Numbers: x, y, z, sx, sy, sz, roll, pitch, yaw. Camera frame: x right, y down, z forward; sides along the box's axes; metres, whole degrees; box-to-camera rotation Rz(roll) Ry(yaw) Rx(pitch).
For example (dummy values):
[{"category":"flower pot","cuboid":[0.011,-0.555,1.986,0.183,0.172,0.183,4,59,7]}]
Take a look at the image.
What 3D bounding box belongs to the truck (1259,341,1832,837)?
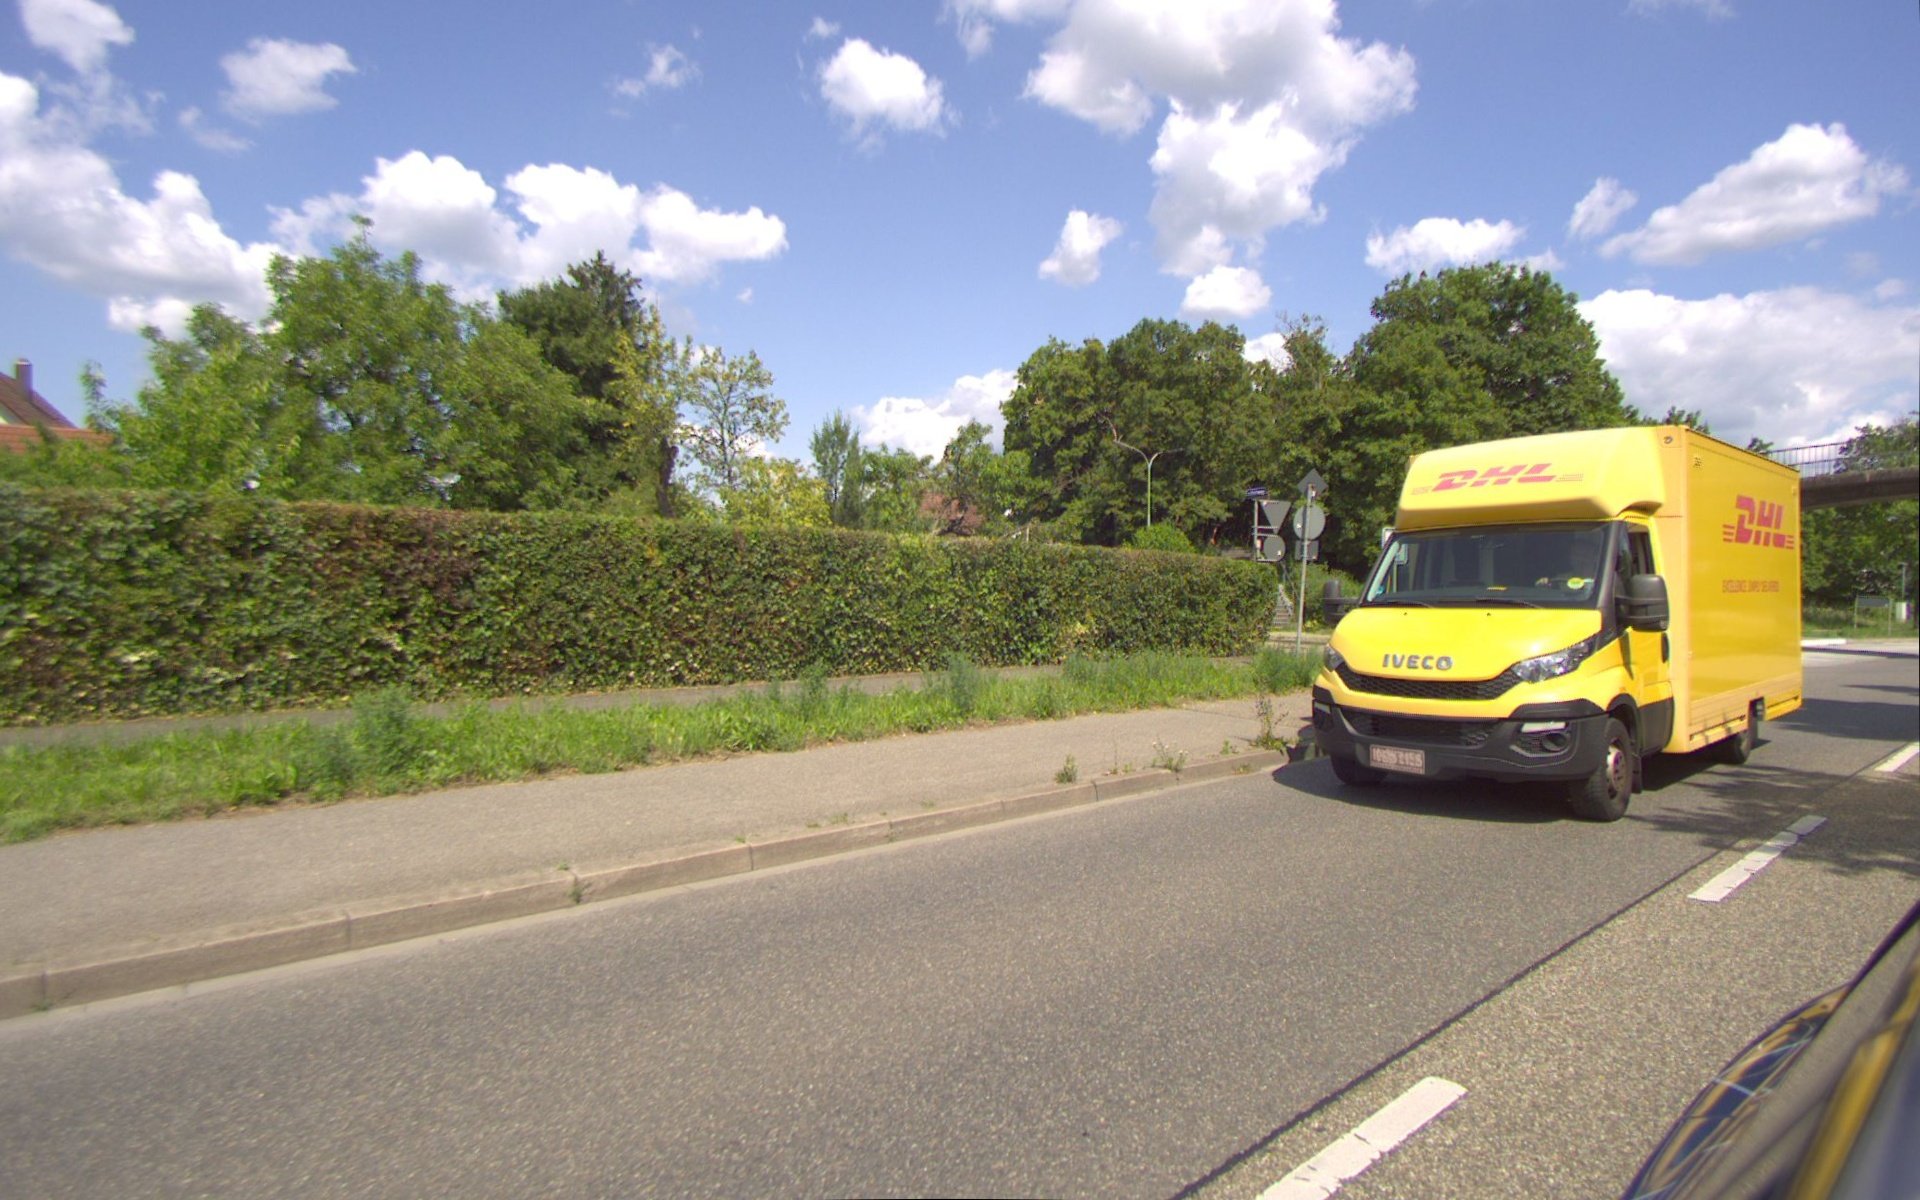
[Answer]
[{"category":"truck","cuboid":[5.951,-0.029,9.434,7.888,2.917,2.268,1,-1,-42]}]
